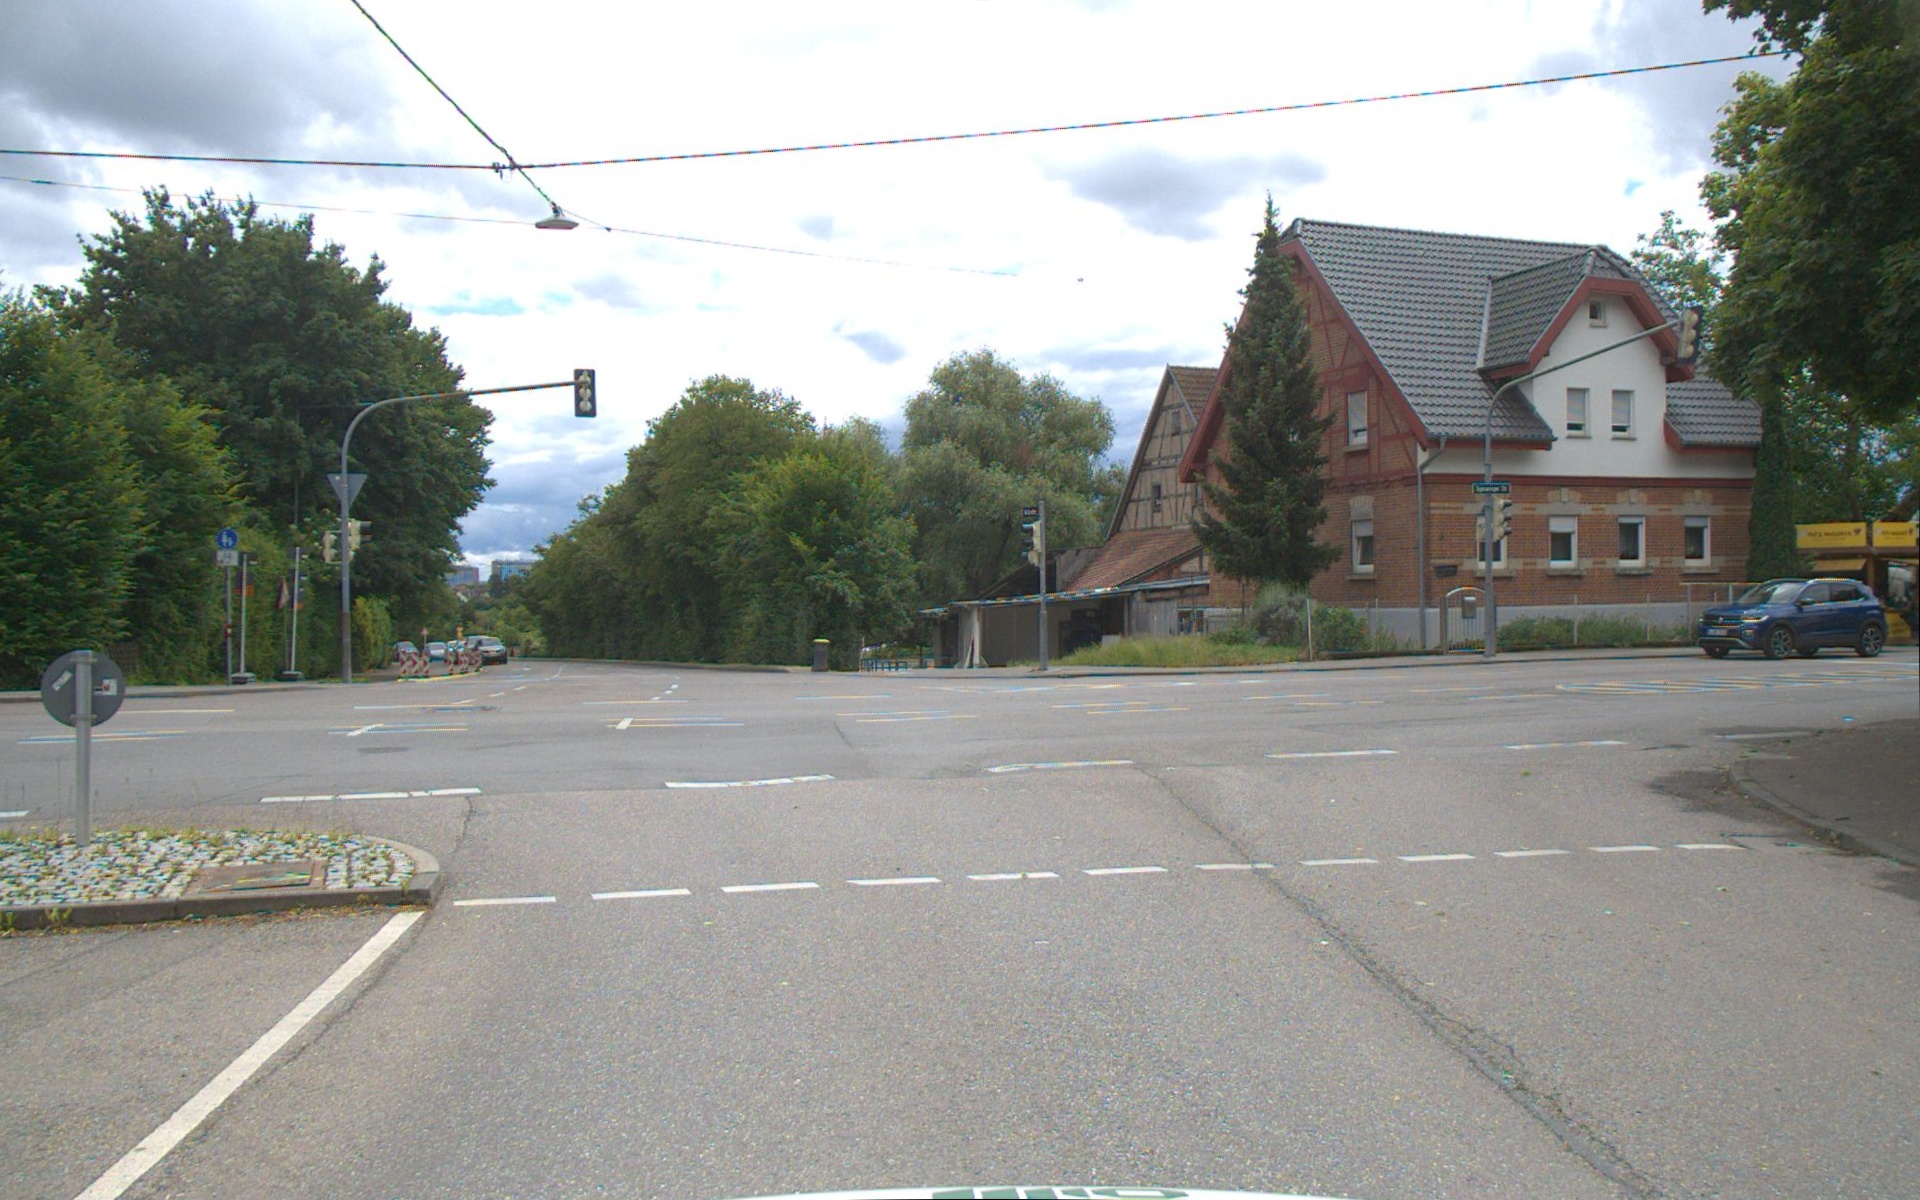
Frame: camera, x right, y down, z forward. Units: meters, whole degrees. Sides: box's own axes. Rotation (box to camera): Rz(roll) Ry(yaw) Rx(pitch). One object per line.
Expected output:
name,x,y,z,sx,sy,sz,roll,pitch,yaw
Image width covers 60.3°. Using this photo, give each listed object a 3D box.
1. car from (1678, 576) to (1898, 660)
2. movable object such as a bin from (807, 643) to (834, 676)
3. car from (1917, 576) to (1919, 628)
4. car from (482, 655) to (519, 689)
car,16.928,0.355,33.832,3.932,1.545,1.915,-1,-1,-22
movable object such as a bin,-4.003,1.711,47.410,0.579,0.922,0.603,-1,-1,19
car,20.429,0.238,31.943,3.507,1.545,1.764,-1,-2,-29
car,-26.533,4.151,95.529,1.961,1.780,3.982,-1,-1,-16
